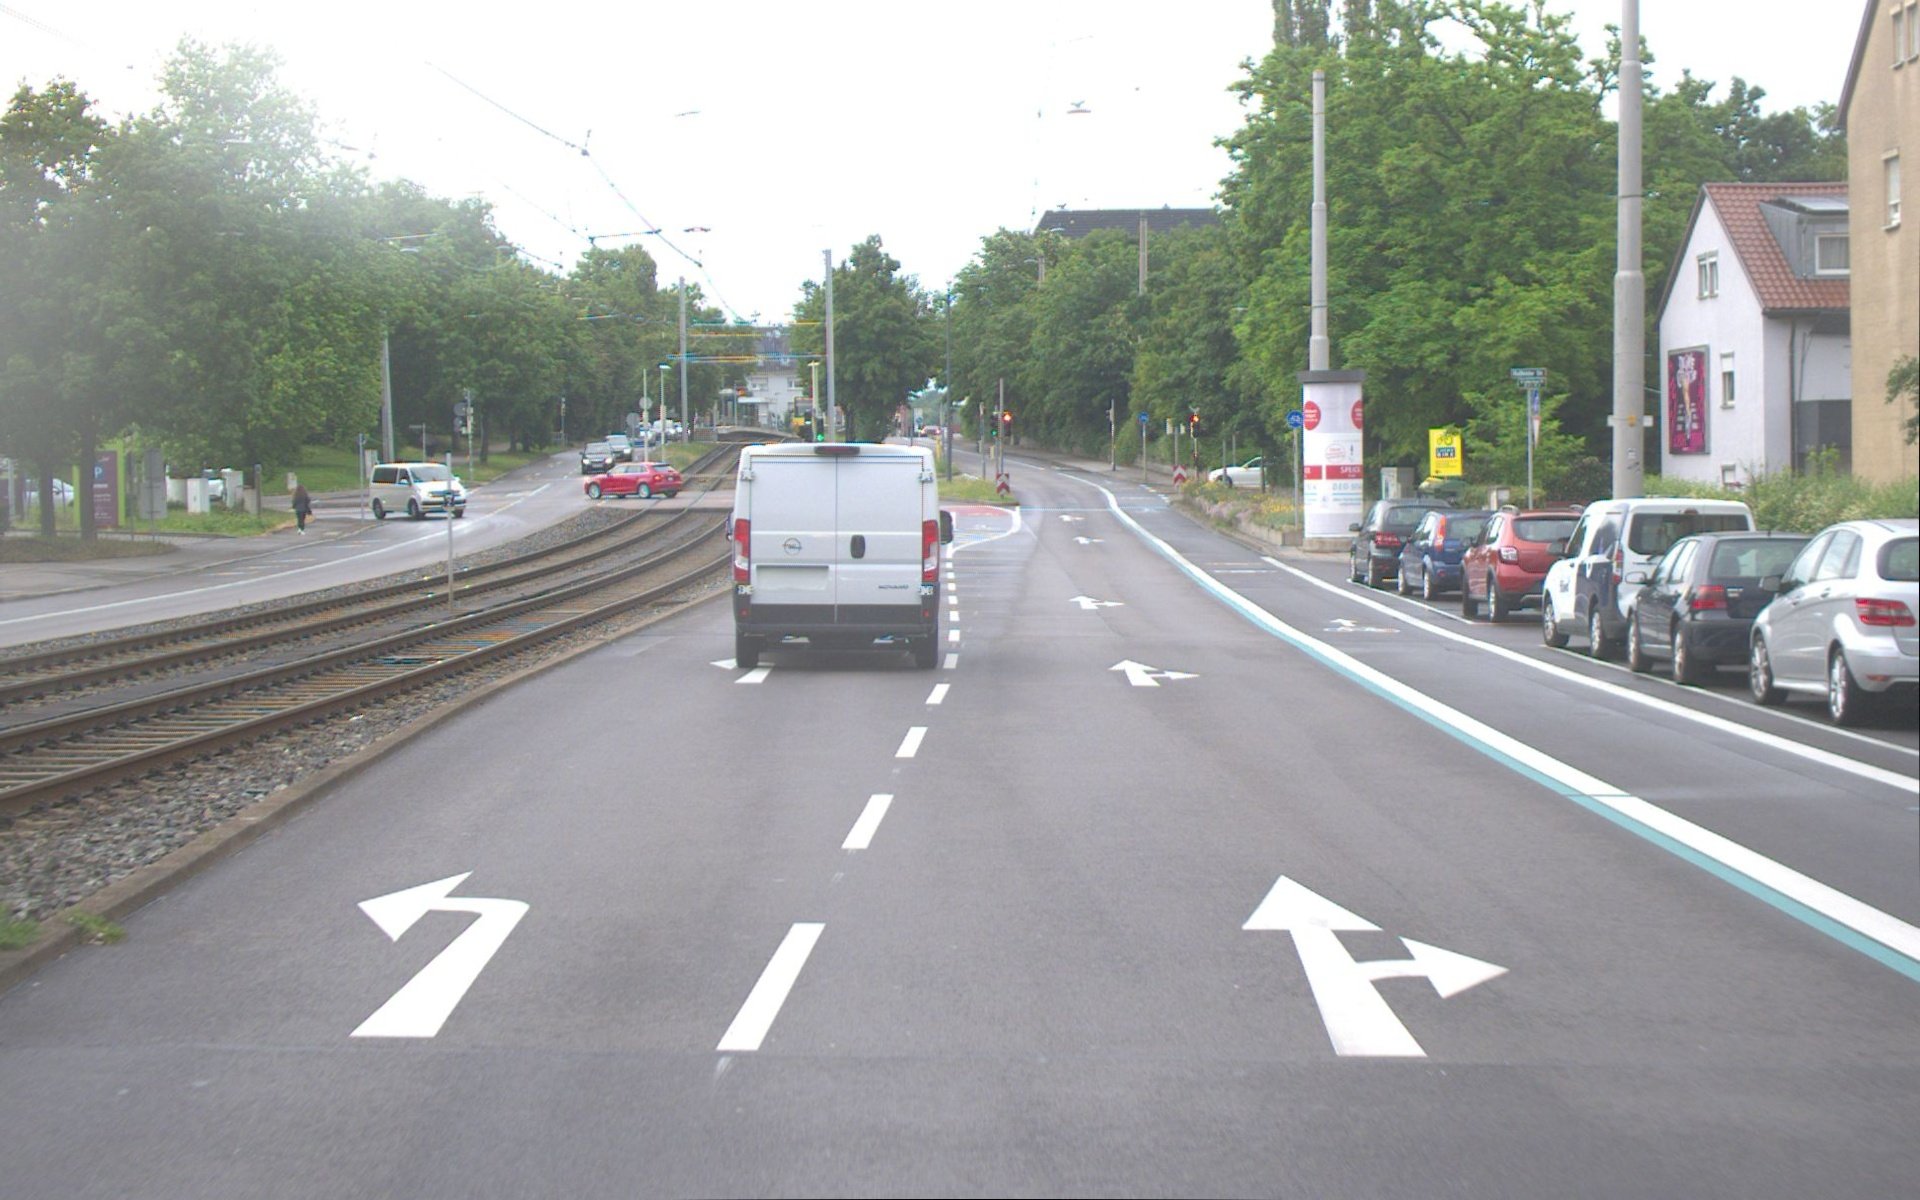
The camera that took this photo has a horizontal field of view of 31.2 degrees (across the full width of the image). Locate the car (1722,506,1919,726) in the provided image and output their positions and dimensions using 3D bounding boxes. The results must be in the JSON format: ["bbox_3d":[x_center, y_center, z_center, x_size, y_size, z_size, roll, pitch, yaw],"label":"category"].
[{"bbox_3d":[7.421,0.073,27.701,1.646,1.609,4.105,1,2,1],"label":"car"}]

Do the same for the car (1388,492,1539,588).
[{"bbox_3d":[8.205,-0.994,56.362,1.847,1.494,3.955,1,1,0],"label":"car"}]

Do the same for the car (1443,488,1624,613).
[{"bbox_3d":[8.069,-0.734,48.684,1.847,1.640,3.955,1,2,0],"label":"car"}]

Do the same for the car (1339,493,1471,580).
[{"bbox_3d":[8.025,-1.163,62.294,1.847,1.494,3.955,1,1,0],"label":"car"}]

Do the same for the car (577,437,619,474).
[{"bbox_3d":[-18.100,-7.204,171.967,1.690,1.706,3.777,1,1,-1],"label":"car"}]

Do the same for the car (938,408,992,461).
[{"bbox_3d":[0.193,-6.694,139.313,1.993,2.007,4.001,1,1,-2],"label":"car"}]

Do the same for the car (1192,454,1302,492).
[{"bbox_3d":[11.570,-5.121,138.563,4.173,1.471,1.665,0,2,16],"label":"car"}]

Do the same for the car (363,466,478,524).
[{"bbox_3d":[-19.379,-3.760,123.255,1.994,2.007,4.526,0,1,-40],"label":"car"}]

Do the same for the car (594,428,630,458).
[{"bbox_3d":[-19.587,-8.840,193.713,1.690,1.569,3.777,1,1,-1],"label":"car"}]

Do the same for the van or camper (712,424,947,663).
[{"bbox_3d":[-1.351,-0.579,35.260,2.198,2.245,4.684,1,1,-2],"label":"van or camper"}]

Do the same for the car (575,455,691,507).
[{"bbox_3d":[-12.989,-4.730,136.529,4.524,2.007,1.995,2,1,41],"label":"car"}]

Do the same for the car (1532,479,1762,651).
[{"bbox_3d":[7.688,-0.448,38.823,1.747,1.801,3.955,1,2,0],"label":"car"}]

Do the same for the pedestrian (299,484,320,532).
[{"bbox_3d":[-20.133,-2.859,106.412,0.612,1.470,0.643,-1,1,-12],"label":"pedestrian"}]

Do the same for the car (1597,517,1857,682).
[{"bbox_3d":[7.368,-0.055,33.378,1.646,1.441,3.955,1,2,1],"label":"car"}]

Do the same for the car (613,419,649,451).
[{"bbox_3d":[-22.402,-11.210,234.178,1.993,2.007,4.000,1,1,0],"label":"car"}]

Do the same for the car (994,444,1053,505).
[{"bbox_3d":[2.226,-4.404,121.178,1.993,2.007,4.000,1,1,1],"label":"car"}]
